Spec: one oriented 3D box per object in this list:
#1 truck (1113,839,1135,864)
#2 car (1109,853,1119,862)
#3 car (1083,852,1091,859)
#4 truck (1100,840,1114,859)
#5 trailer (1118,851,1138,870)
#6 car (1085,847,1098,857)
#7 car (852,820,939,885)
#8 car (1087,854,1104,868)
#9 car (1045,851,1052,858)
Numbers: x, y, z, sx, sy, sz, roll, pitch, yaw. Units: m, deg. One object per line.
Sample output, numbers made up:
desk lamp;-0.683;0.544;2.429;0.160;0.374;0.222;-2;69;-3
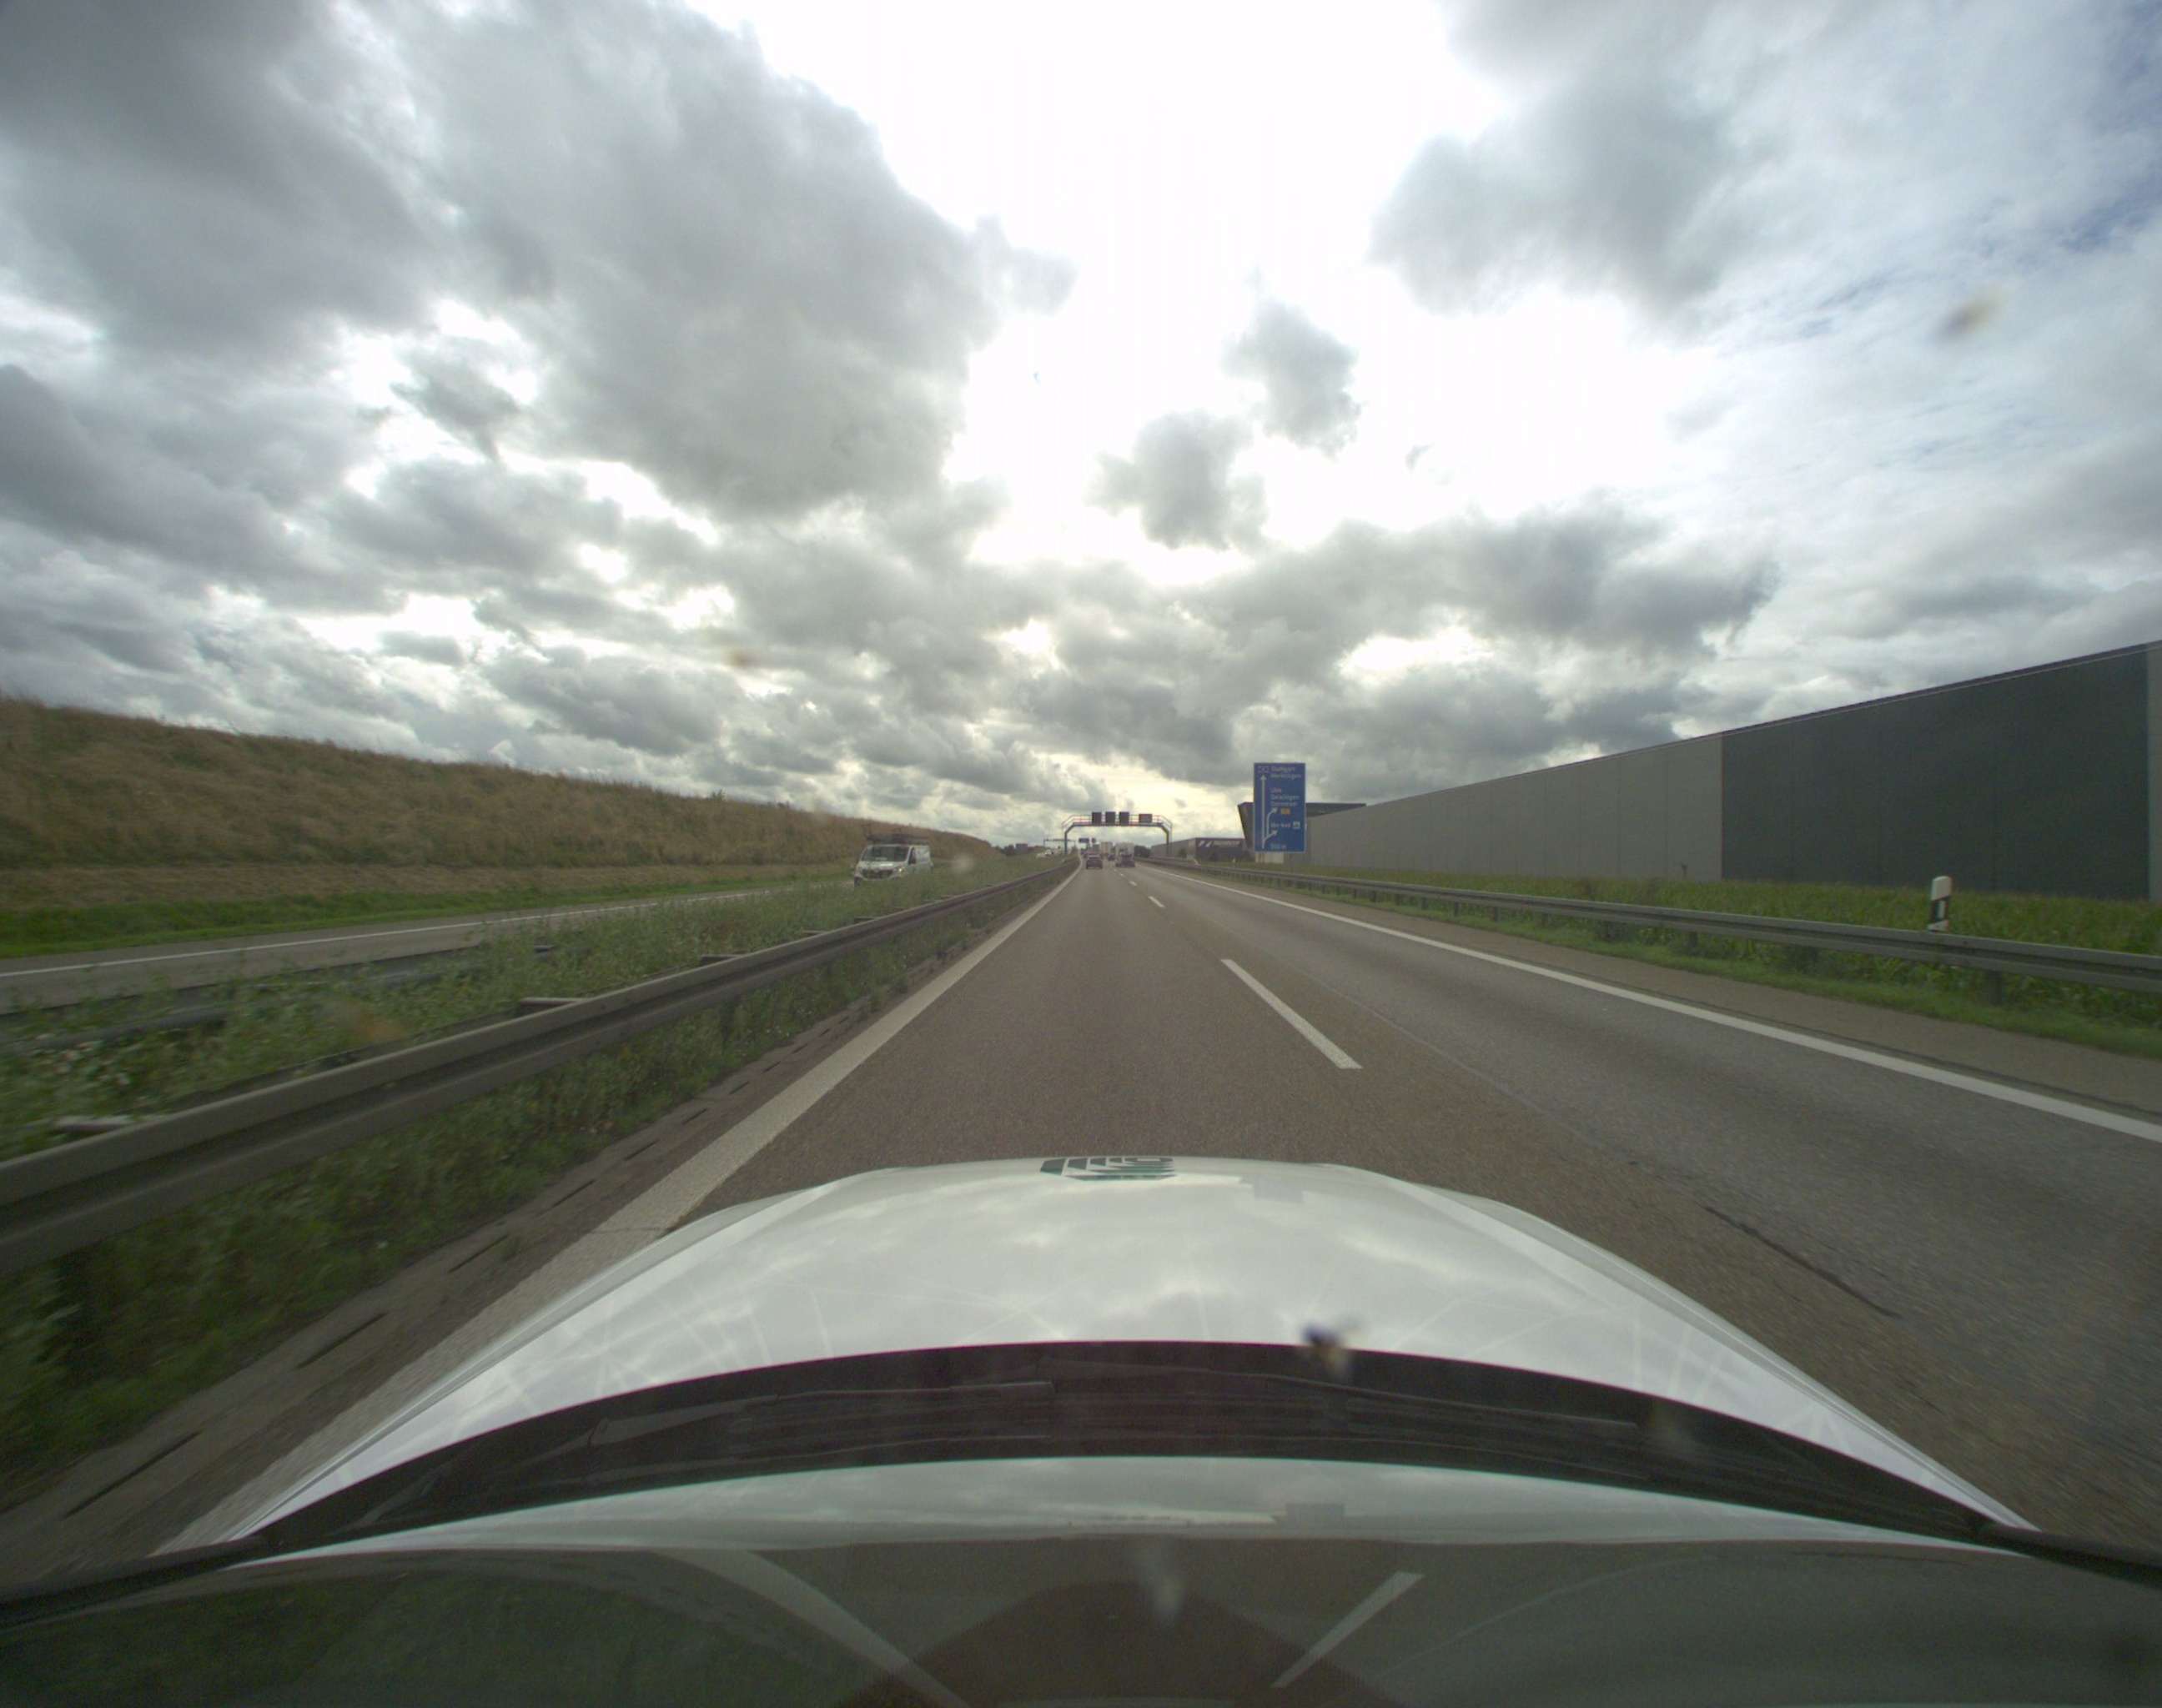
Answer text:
truck;5.304;-0.279;101.296;2.474;2.950;5.814;0;-1;0
car;6.204;0.699;152.196;1.794;1.685;4.002;0;-1;2
car;1.543;0.349;208.024;1.935;1.775;3.698;0;-1;2
truck;6.218;-1.118;196.993;3.328;4.534;8.016;0;-1;0
trailer;5.400;0.700;94.072;2.329;2.136;4.002;0;-1;2
car;1.766;-0.318;132.952;1.938;1.685;4.002;0;-1;2
car;-7.165;-0.026;32.173;1.986;2.348;5.871;0;-1;1
car;1.574;0.726;87.608;1.739;1.453;4.002;0;0;2
car;-9.831;0.171;245.830;1.987;2.013;4.708;0;0;0
